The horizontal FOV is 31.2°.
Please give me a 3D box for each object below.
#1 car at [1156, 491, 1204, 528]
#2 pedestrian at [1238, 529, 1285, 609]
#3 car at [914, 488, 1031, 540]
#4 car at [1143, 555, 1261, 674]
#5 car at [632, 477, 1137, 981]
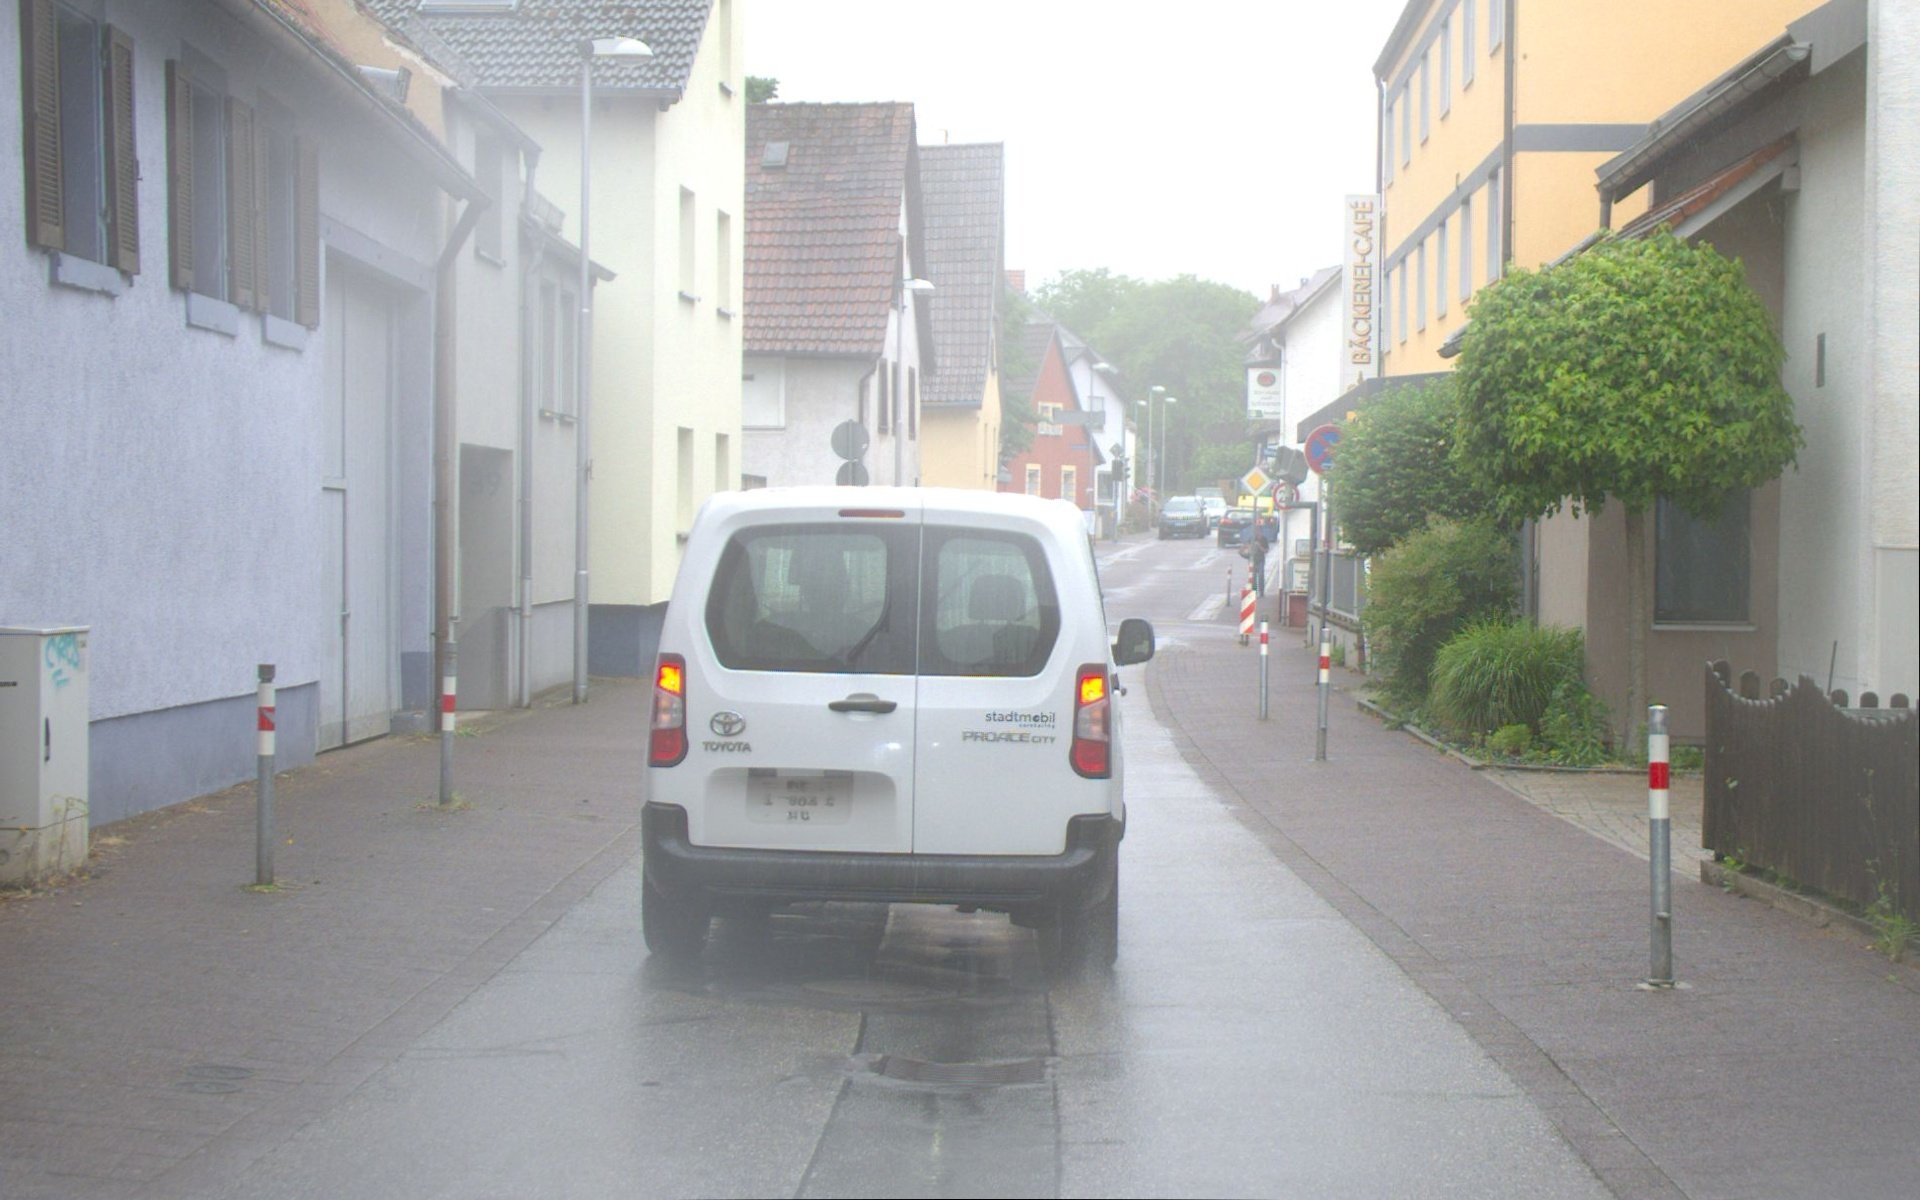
[{"bbox_3d":[9.022,-3.696,140.750,1.589,1.436,3.764,2,1,9],"label":"car"},{"bbox_3d":[7.118,-0.734,81.260,1.050,1.886,0.877,0,0,2],"label":"pedestrian"},{"bbox_3d":[0.425,-2.930,117.023,3.419,1.554,2.001,-4,3,-21],"label":"car"},{"bbox_3d":[4.284,0.219,60.518,1.994,2.007,3.999,0,1,5],"label":"car"},{"bbox_3d":[-0.203,0.435,14.157,1.775,1.774,4.000,0,1,2],"label":"car"}]
